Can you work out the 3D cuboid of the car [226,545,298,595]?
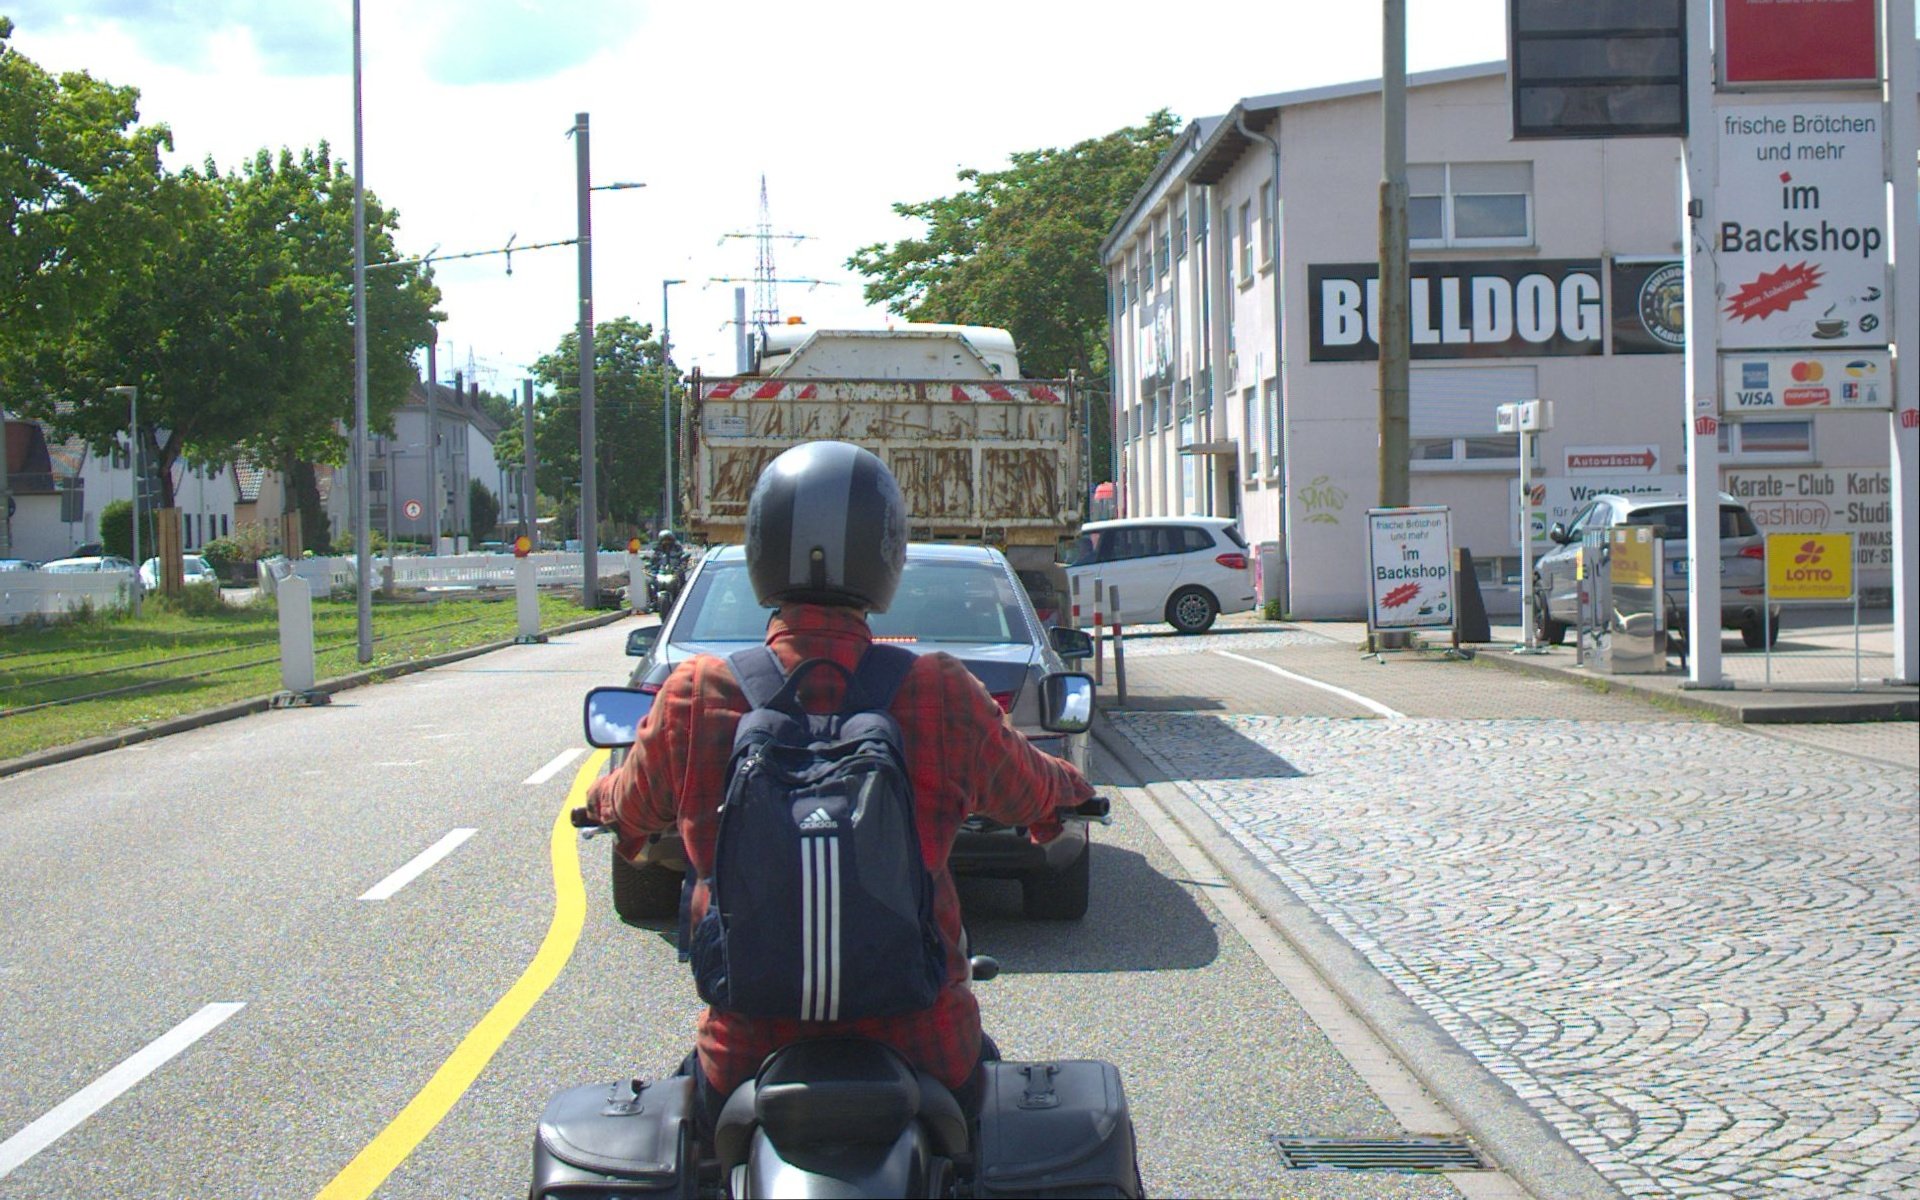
[{"bbox_3d":[-25.415,-1.103,125.247,1.776,1.717,4.128,-1,1,0],"label":"car"}]

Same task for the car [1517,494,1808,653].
[{"bbox_3d":[7.381,-0.307,36.526,1.667,1.557,4.245,-1,1,-8],"label":"car"}]

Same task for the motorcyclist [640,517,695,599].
[{"bbox_3d":[-4.985,-0.718,58.625,0.868,1.373,0.800,-1,1,-3],"label":"motorcyclist"}]

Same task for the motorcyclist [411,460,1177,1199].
[{"bbox_3d":[-0.215,0.614,5.033,0.979,1.597,1.088,-1,1,-1],"label":"motorcyclist"}]

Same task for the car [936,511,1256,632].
[{"bbox_3d":[1.828,-0.406,47.131,4.230,1.537,1.673,-1,1,-2],"label":"car"}]

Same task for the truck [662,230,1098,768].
[{"bbox_3d":[-0.540,-0.715,25.369,2.638,3.285,8.057,-1,1,-1],"label":"truck"}]

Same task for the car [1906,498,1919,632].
[{"bbox_3d":[11.736,-0.382,37.095,1.806,1.498,3.834,-1,1,-3],"label":"car"}]

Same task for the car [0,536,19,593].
[{"bbox_3d":[-30.041,-1.065,104.411,1.776,1.717,4.128,-1,1,0],"label":"car"}]

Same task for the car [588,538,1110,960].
[{"bbox_3d":[-0.415,0.493,14.145,1.823,1.447,4.000,1,1,-1],"label":"car"}]

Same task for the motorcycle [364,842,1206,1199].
[{"bbox_3d":[-0.211,0.956,5.344,0.979,0.894,2.653,-1,1,-1],"label":"motorcycle"}]

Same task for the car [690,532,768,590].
[{"bbox_3d":[-6.272,-1.080,93.620,1.823,1.447,4.324,-2,1,-1],"label":"car"}]

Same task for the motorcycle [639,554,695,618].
[{"bbox_3d":[-4.978,-0.248,58.506,0.868,1.017,2.245,-1,1,-3],"label":"motorcycle"}]

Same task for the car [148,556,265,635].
[{"bbox_3d":[-17.494,-0.133,79.966,1.776,1.717,4.128,-1,1,0],"label":"car"}]
